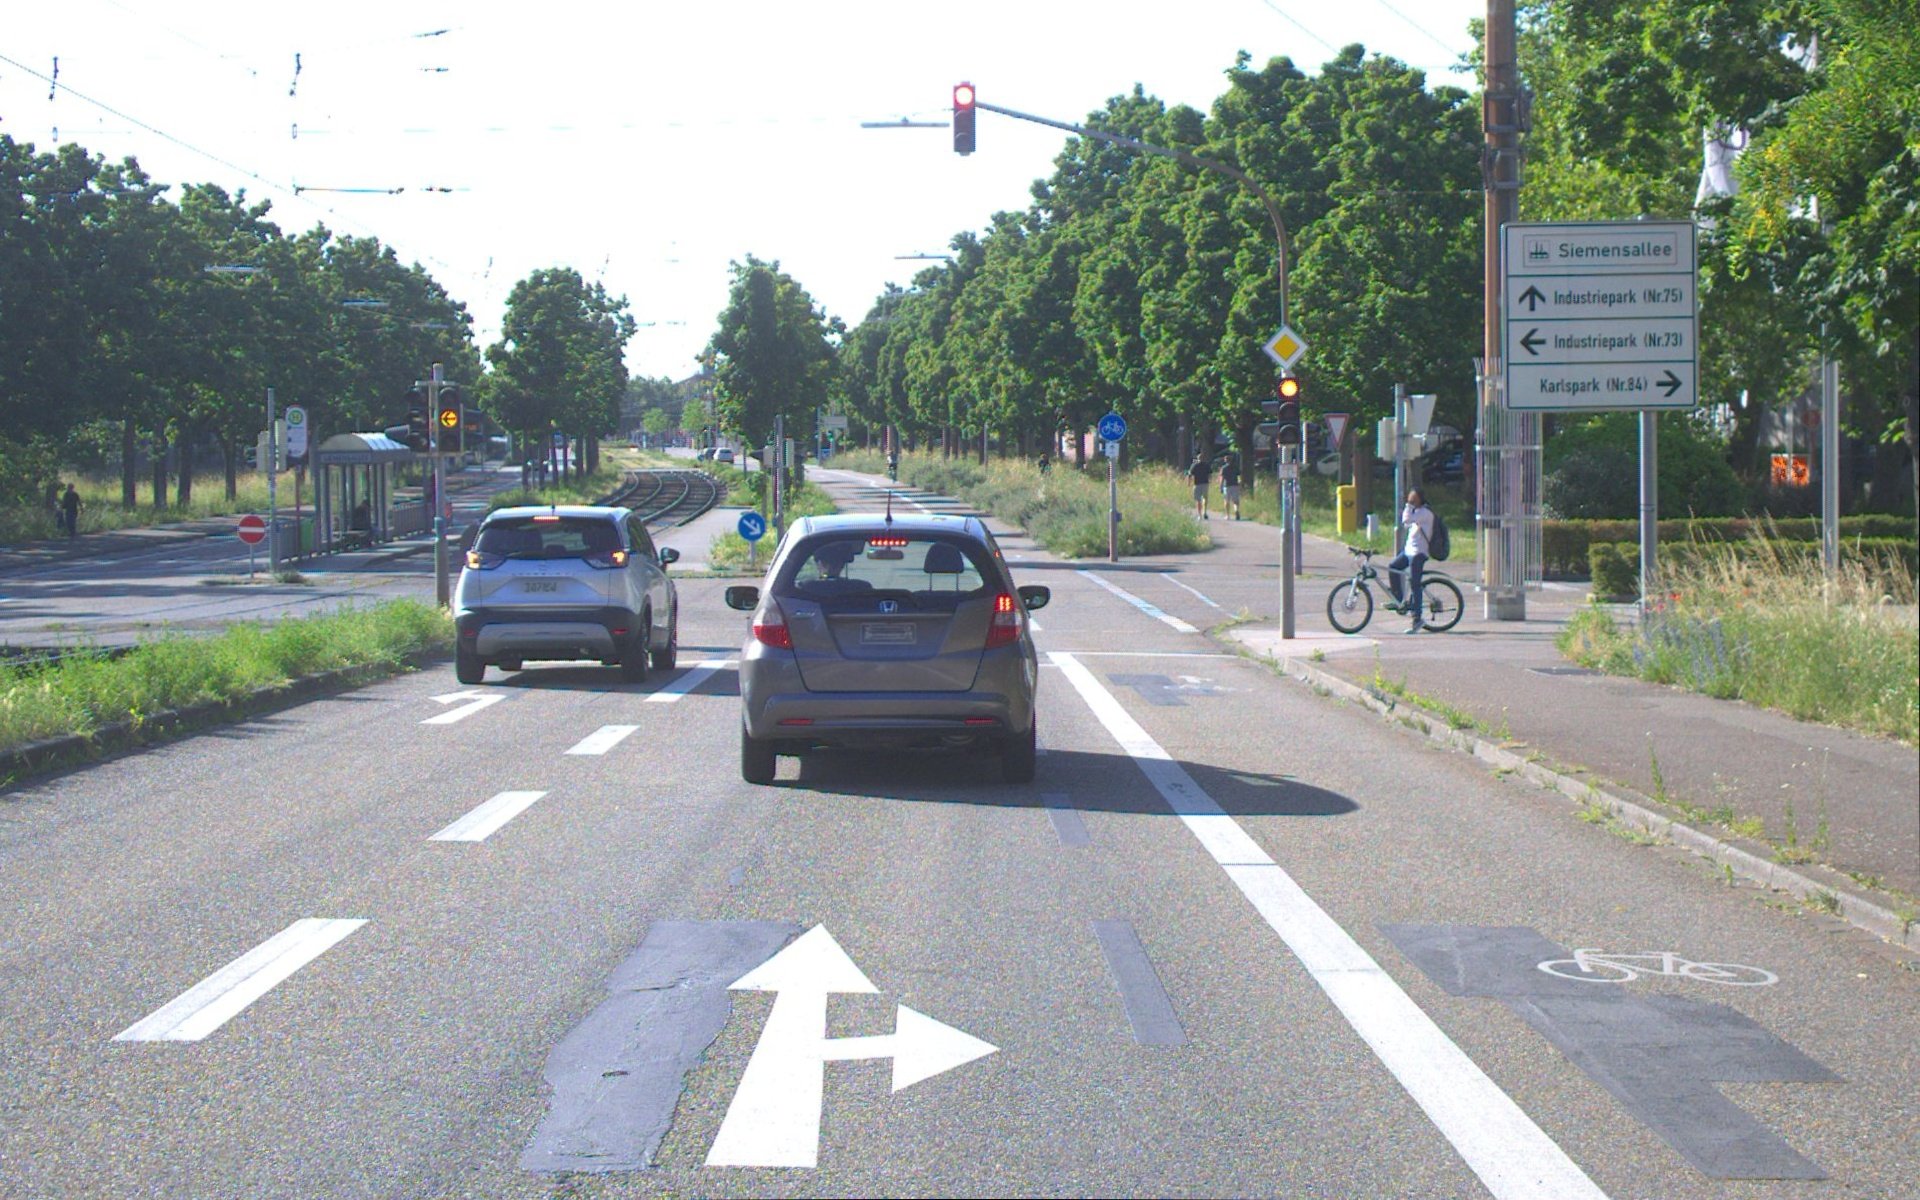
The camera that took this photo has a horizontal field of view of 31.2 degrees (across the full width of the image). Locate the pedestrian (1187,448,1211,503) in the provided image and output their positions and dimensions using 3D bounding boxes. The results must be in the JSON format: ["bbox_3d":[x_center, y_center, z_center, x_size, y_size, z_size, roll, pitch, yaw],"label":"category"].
[{"bbox_3d":[6.956,-3.626,100.089,0.567,1.591,0.666,1,1,-4],"label":"pedestrian"}]

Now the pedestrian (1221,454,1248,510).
[{"bbox_3d":[7.998,-3.437,100.189,0.678,1.604,0.721,1,1,-2],"label":"pedestrian"}]

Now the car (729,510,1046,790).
[{"bbox_3d":[-0.374,0.222,20.675,1.707,1.503,4.000,1,1,1],"label":"car"}]

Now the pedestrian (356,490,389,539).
[{"bbox_3d":[-15.126,-2.198,88.566,0.721,1.241,0.711,-1,2,-2],"label":"pedestrian"}]

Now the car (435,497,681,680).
[{"bbox_3d":[-3.691,-0.155,32.232,1.850,1.601,4.255,0,1,-1],"label":"car"}]

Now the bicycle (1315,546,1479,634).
[{"bbox_3d":[5.363,-0.122,42.181,1.921,0.994,0.764,-2,1,11],"label":"bicycle"}]

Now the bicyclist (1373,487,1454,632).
[{"bbox_3d":[5.561,-0.496,42.132,0.910,1.739,0.764,-1,1,11],"label":"bicyclist"}]

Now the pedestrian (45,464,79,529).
[{"bbox_3d":[-27.728,-3.194,106.178,0.839,2.006,0.863,0,2,-2],"label":"pedestrian"}]
